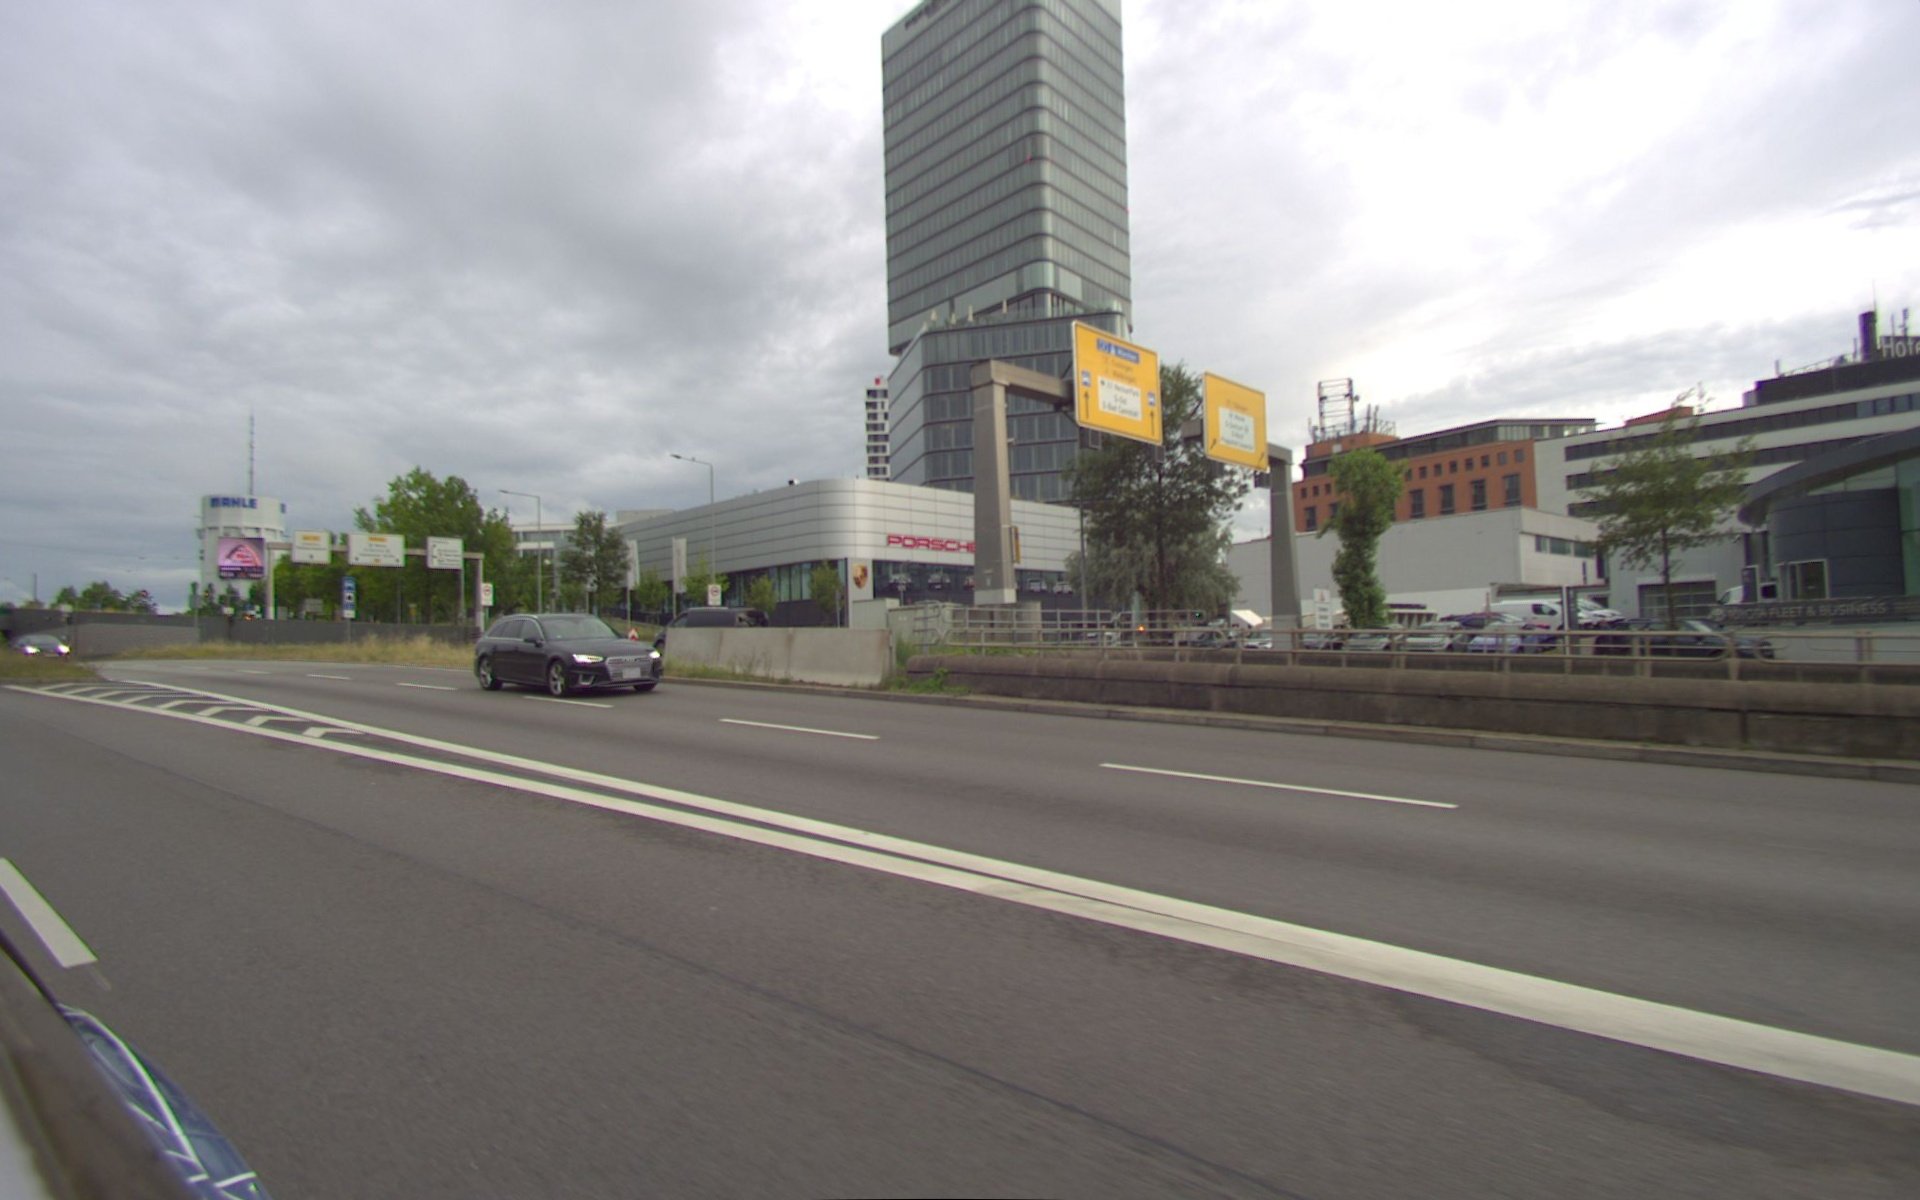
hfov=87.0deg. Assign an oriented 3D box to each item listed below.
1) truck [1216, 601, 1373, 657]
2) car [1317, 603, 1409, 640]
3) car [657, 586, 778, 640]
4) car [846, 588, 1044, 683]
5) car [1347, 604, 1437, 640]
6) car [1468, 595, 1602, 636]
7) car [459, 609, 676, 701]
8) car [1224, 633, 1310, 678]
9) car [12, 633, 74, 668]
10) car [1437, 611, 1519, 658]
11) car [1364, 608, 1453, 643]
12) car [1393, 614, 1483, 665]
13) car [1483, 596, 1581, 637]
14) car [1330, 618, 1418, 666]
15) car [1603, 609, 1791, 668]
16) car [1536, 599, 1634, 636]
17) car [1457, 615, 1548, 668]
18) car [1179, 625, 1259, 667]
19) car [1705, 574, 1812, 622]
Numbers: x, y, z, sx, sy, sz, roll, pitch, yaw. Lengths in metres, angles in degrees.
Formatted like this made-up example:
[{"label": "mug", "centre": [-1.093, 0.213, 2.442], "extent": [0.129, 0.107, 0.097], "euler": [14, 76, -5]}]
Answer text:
[{"label": "truck", "centre": [17.348, 1.569, 52.872], "extent": [2.339, 2.547, 7.415], "euler": [-2, -3, -45]}, {"label": "car", "centre": [21.269, 1.164, 53.470], "extent": [1.894, 1.696, 4.005], "euler": [-2, -2, -42]}, {"label": "car", "centre": [-8.867, 0.473, 36.785], "extent": [4.625, 1.843, 1.793], "euler": [-1, 0, 38]}, {"label": "car", "centre": [-0.344, 0.709, 19.456], "extent": [3.547, 1.602, 1.670], "euler": [-5, -2, 41]}, {"label": "car", "centre": [23.512, 1.198, 55.179], "extent": [1.894, 1.696, 4.005], "euler": [-2, -2, -42]}, {"label": "car", "centre": [29.121, 0.837, 51.417], "extent": [1.969, 1.896, 5.543], "euler": [-2, -1, -41]}, {"label": "car", "centre": [-7.229, 0.921, 18.391], "extent": [4.631, 1.430, 1.790], "euler": [-1, 0, 43]}, {"label": "car", "centre": [13.345, 2.394, 43.906], "extent": [1.924, 1.696, 3.943], "euler": [-5, -2, 43]}, {"label": "car", "centre": [-46.793, 2.553, 51.610], "extent": [3.997, 1.644, 1.849], "euler": [-1, -1, 40]}, {"label": "car", "centre": [21.669, 1.429, 42.293], "extent": [1.924, 1.696, 3.943], "euler": [-5, -2, 43]}, {"label": "car", "centre": [25.072, 1.431, 56.652], "extent": [1.894, 1.696, 4.005], "euler": [-2, -2, -42]}, {"label": "car", "centre": [18.538, 1.518, 39.210], "extent": [1.924, 1.696, 3.943], "euler": [-5, -2, 43]}, {"label": "car", "centre": [30.293, 0.907, 53.664], "extent": [1.969, 1.896, 4.005], "euler": [-2, -2, -41]}, {"label": "car", "centre": [16.728, 1.676, 40.813], "extent": [1.924, 1.696, 3.943], "euler": [-5, -2, 43]}, {"label": "car", "centre": [24.007, 1.302, 33.174], "extent": [1.890, 1.696, 4.516], "euler": [-2, -2, -29]}, {"label": "car", "centre": [33.360, 0.953, 54.110], "extent": [1.894, 1.696, 4.005], "euler": [-2, -2, -42]}, {"label": "car", "centre": [20.116, 1.520, 37.457], "extent": [1.924, 1.696, 3.943], "euler": [-5, -2, 43]}, {"label": "car", "centre": [11.716, 2.062, 45.585], "extent": [1.699, 1.612, 3.956], "euler": [-5, -2, 43]}, {"label": "car", "centre": [33.842, -0.045, 43.041], "extent": [1.904, 1.796, 3.983], "euler": [-4, -2, 13]}]
